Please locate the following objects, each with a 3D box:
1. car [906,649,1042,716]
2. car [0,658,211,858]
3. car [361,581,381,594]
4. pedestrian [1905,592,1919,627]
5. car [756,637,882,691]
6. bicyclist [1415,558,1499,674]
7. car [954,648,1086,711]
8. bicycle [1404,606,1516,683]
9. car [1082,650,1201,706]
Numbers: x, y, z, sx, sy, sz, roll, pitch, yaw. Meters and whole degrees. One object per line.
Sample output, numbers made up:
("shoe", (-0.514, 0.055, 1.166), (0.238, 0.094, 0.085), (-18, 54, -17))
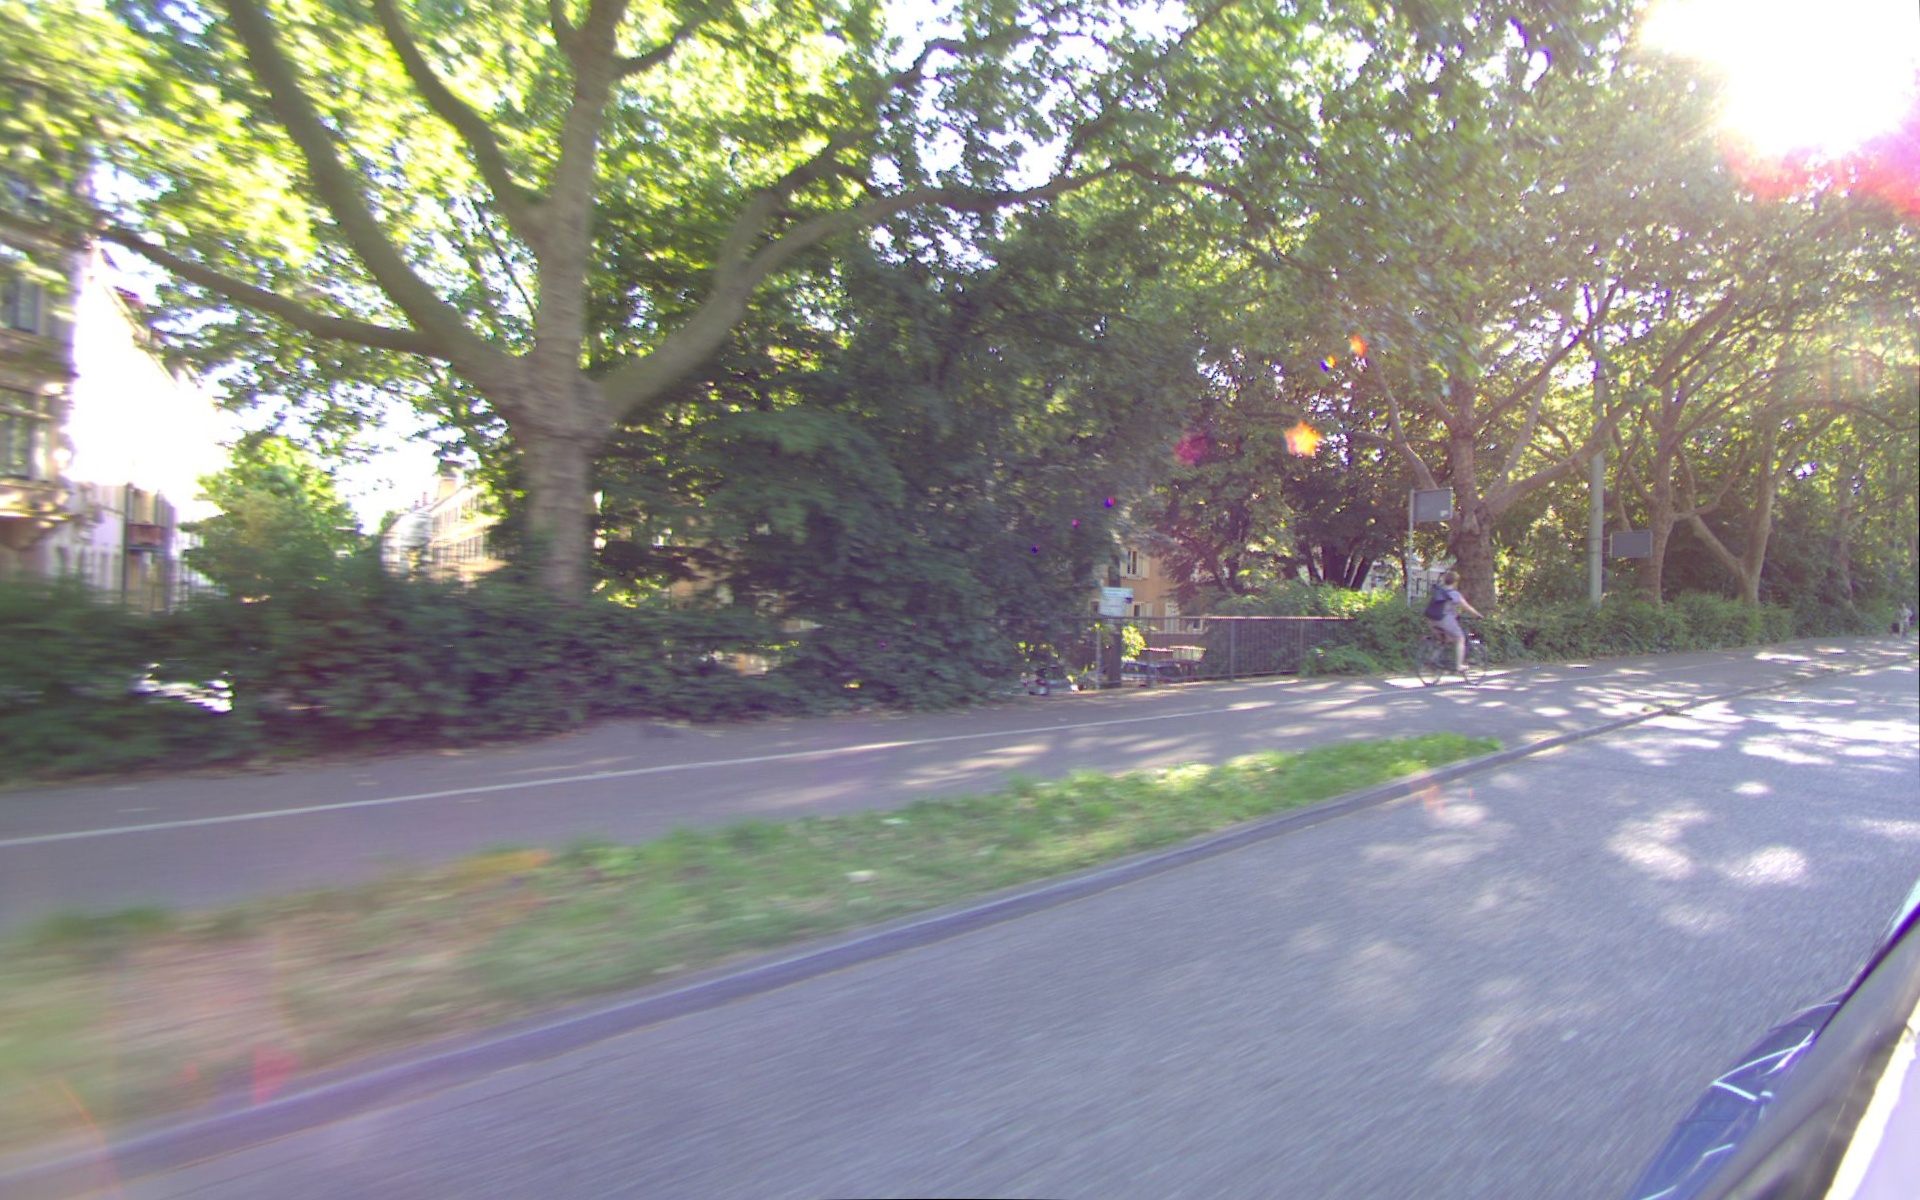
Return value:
("car", (0.409, 2.541, 31.972), (3.983, 1.534, 1.868), (5, 3, 40))
("car", (-10.374, 1.630, 10.524), (4.028, 1.835, 1.907), (0, 0, -41))
("car", (-68.428, -1.461, 117.523), (1.766, 1.529, 4.000), (0, 0, -35))
("pedestrian", (46.666, 0.483, 49.334), (0.911, 1.655, 0.650), (1, 3, -40))
("car", (-4.811, 2.146, 34.791), (3.929, 1.529, 1.798), (1, 3, -41))
("bicyclist", (7.758, 0.246, 15.810), (1.059, 1.750, 0.702), (2, 0, -33))
("car", (1.952, 2.559, 33.451), (3.983, 1.534, 1.868), (5, 3, 40))
("bicycle", (7.864, 0.682, 15.885), (1.892, 1.121, 0.702), (1, 0, -33))
("car", (6.599, 2.800, 37.097), (1.769, 1.528, 3.994), (1, 3, -42))
